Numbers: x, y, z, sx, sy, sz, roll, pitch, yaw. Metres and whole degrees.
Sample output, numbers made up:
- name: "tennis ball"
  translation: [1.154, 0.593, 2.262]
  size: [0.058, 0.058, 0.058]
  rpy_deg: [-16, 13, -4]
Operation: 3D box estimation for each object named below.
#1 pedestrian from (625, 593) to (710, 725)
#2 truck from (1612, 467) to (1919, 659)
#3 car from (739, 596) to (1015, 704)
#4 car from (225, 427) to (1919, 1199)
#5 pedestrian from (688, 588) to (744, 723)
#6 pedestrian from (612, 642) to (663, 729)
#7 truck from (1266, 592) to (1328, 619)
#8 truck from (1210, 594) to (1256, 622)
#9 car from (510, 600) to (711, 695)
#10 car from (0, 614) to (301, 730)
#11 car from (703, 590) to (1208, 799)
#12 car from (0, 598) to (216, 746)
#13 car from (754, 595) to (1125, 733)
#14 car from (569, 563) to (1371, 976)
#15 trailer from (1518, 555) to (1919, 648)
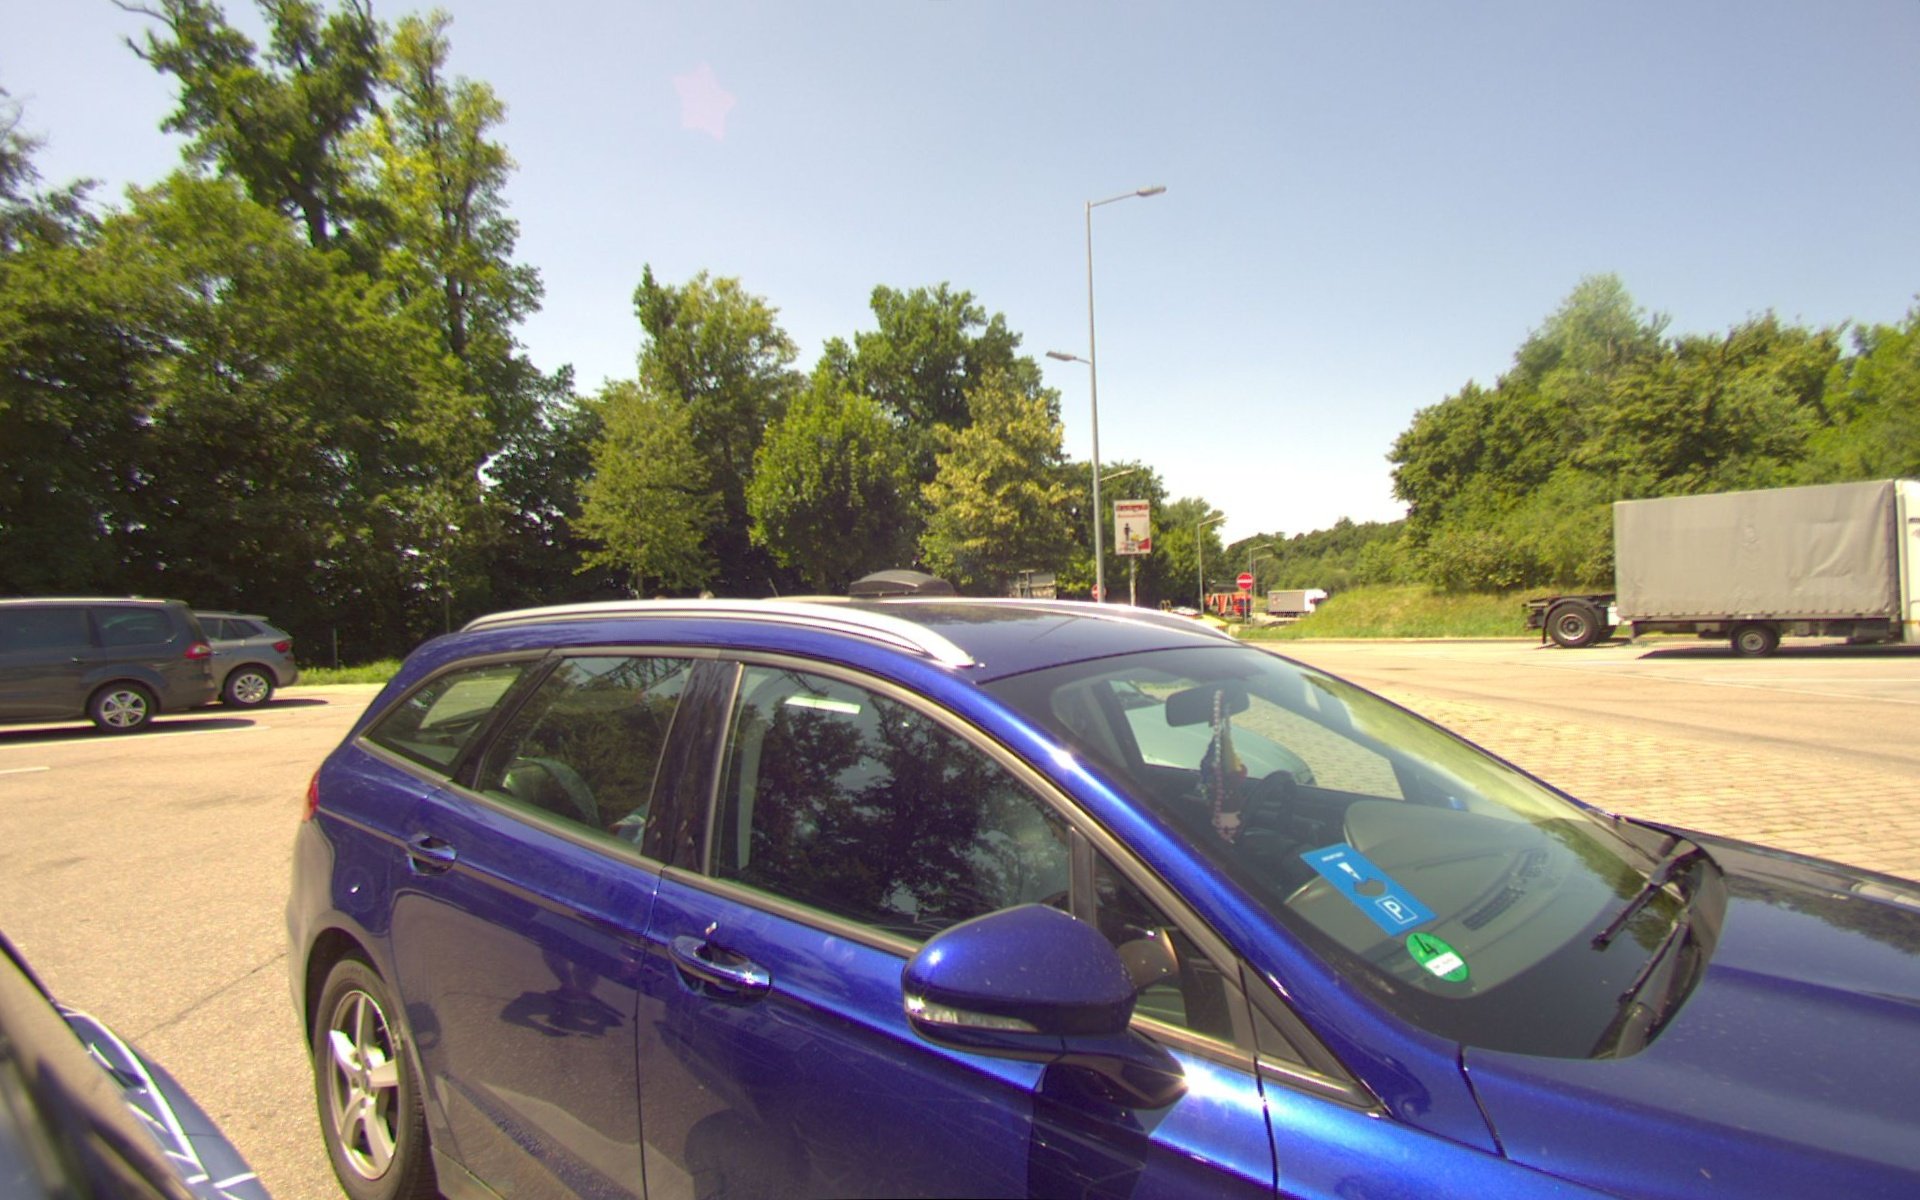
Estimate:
- name: "pedestrian"
  translation: [-3.852, 0.757, 13.349]
  size: [0.827, 1.676, 0.671]
  rpy_deg: [-1, -1, 21]
- name: "truck"
  translation: [16.841, -0.664, 18.961]
  size: [7.295, 3.259, 2.709]
  rpy_deg: [-4, -1, 43]
- name: "car"
  translation: [-1.464, 0.822, 16.855]
  size: [4.485, 1.562, 1.756]
  rpy_deg: [-3, -1, 36]
- name: "car"
  translation: [0.266, 0.661, 2.135]
  size: [4.490, 1.502, 1.851]
  rpy_deg: [-3, 0, 40]
- name: "pedestrian"
  translation: [-3.309, 0.727, 13.697]
  size: [0.664, 1.746, 0.836]
  rpy_deg: [-1, -1, -16]
- name: "pedestrian"
  translation: [-4.075, 1.070, 12.803]
  size: [0.431, 1.052, 0.437]
  rpy_deg: [-1, -1, 18]
- name: "truck"
  translation: [49.720, 0.756, 149.926]
  size: [2.570, 3.849, 16.338]
  rpy_deg: [-1, 0, -4]
- name: "truck"
  translation: [43.558, 1.189, 162.170]
  size: [3.089, 4.150, 15.399]
  rpy_deg: [-1, 0, 0]
- name: "car"
  translation: [-7.019, 0.883, 20.926]
  size: [1.978, 1.725, 4.604]
  rpy_deg: [-1, 0, 9]
- name: "car"
  translation: [-12.583, 1.003, 15.463]
  size: [1.687, 1.515, 3.943]
  rpy_deg: [-1, 0, 43]
- name: "car"
  translation: [-0.232, 0.747, 9.208]
  size: [4.490, 1.437, 1.754]
  rpy_deg: [-3, -1, 40]
- name: "car"
  translation: [-11.929, 0.859, 12.299]
  size: [4.553, 1.725, 1.741]
  rpy_deg: [0, -1, -41]
- name: "car"
  translation: [-0.372, 0.772, 12.756]
  size: [4.485, 1.437, 1.756]
  rpy_deg: [-3, -1, 36]
- name: "car"
  translation: [-0.245, 0.693, 5.834]
  size: [4.490, 1.511, 1.754]
  rpy_deg: [-3, -1, 40]
- name: "trailer"
  translation: [17.267, 0.115, 23.389]
  size: [7.295, 1.701, 2.235]
  rpy_deg: [-4, -1, 43]
